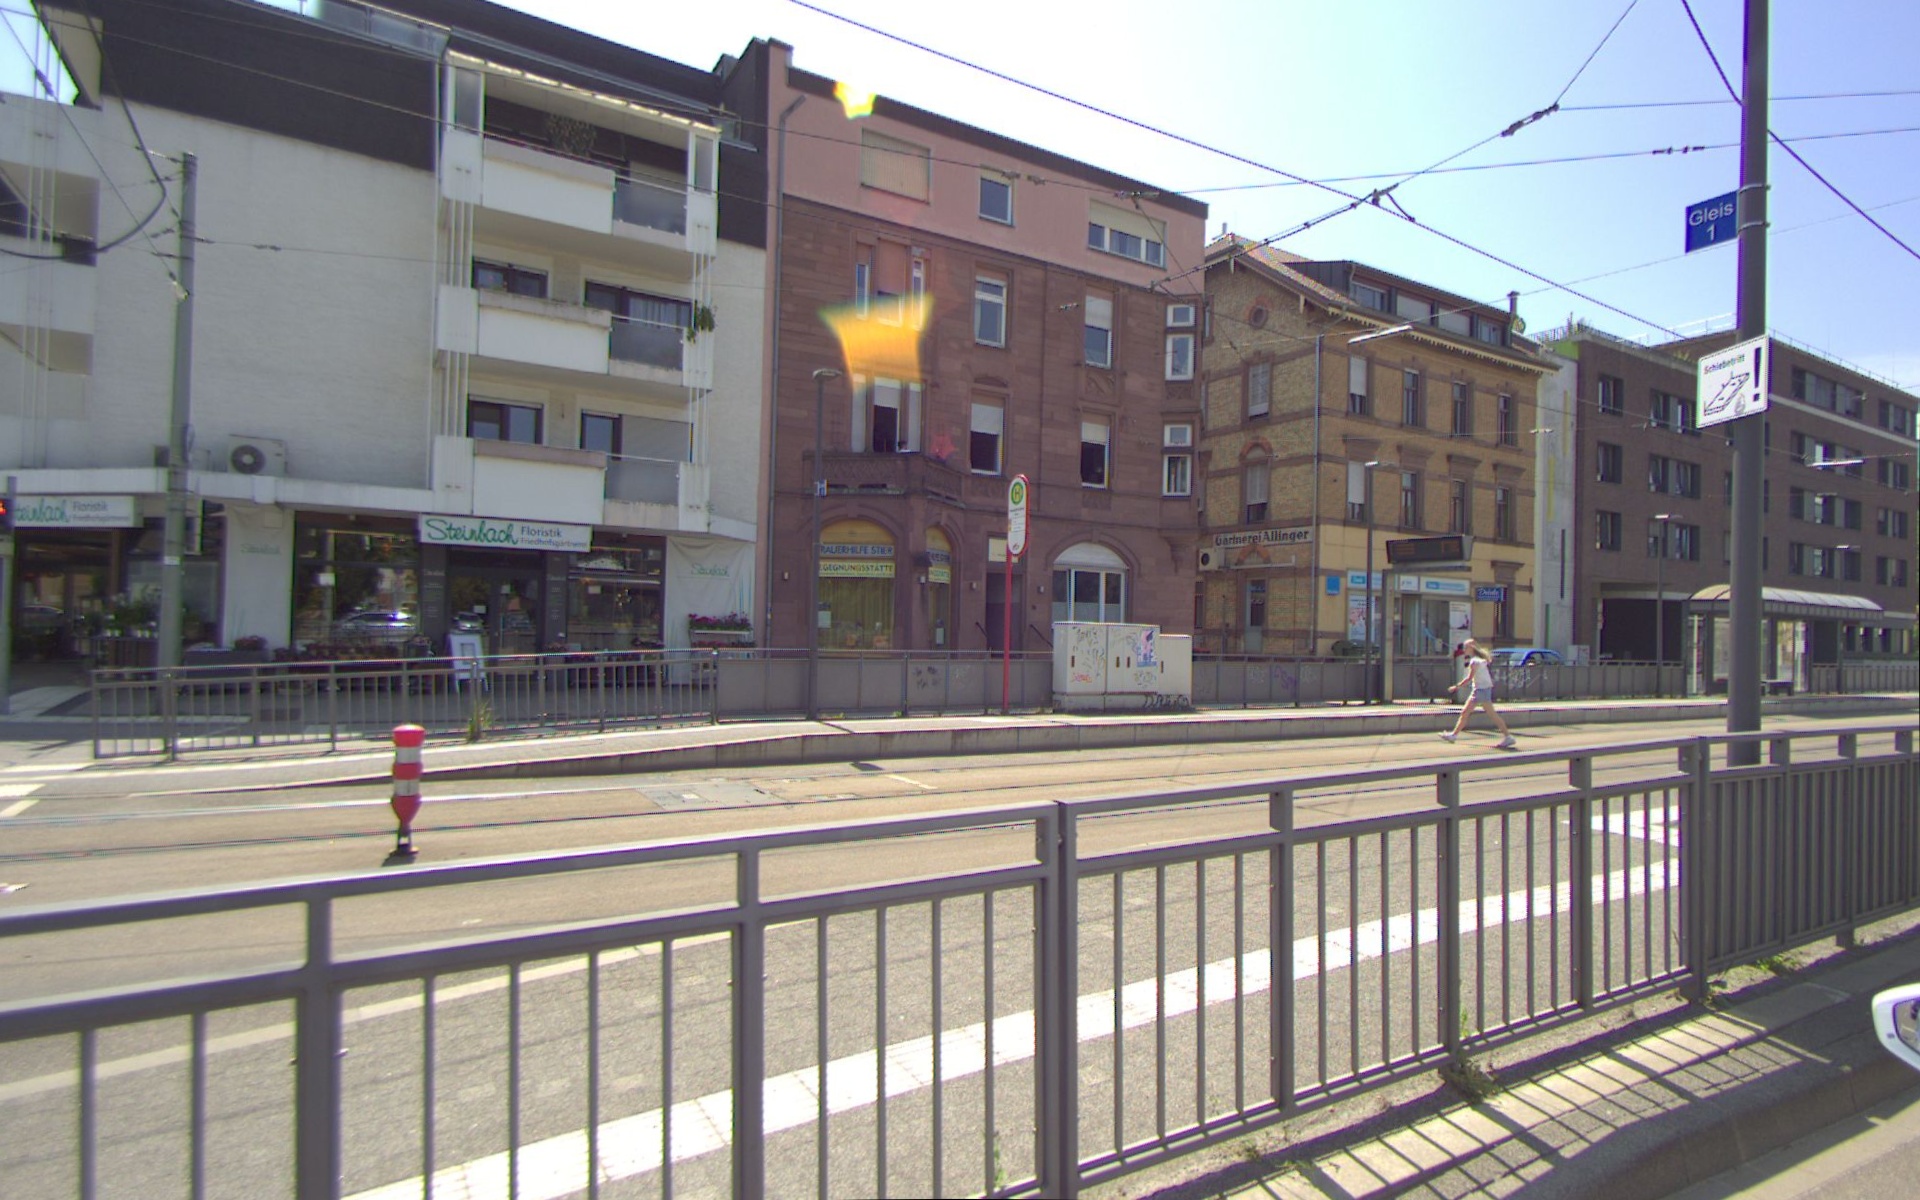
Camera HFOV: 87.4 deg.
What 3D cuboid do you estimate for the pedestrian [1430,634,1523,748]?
[{"bbox_3d":[8.020,1.389,15.648,1.078,1.696,0.766,1,-2,8],"label":"pedestrian"}]

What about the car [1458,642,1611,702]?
[{"bbox_3d":[16.051,1.976,28.060,3.951,1.528,1.985,2,-2,-29],"label":"car"}]

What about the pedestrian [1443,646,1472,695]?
[{"bbox_3d":[16.635,2.355,33.599,0.633,1.581,0.611,2,-2,-31],"label":"pedestrian"}]
